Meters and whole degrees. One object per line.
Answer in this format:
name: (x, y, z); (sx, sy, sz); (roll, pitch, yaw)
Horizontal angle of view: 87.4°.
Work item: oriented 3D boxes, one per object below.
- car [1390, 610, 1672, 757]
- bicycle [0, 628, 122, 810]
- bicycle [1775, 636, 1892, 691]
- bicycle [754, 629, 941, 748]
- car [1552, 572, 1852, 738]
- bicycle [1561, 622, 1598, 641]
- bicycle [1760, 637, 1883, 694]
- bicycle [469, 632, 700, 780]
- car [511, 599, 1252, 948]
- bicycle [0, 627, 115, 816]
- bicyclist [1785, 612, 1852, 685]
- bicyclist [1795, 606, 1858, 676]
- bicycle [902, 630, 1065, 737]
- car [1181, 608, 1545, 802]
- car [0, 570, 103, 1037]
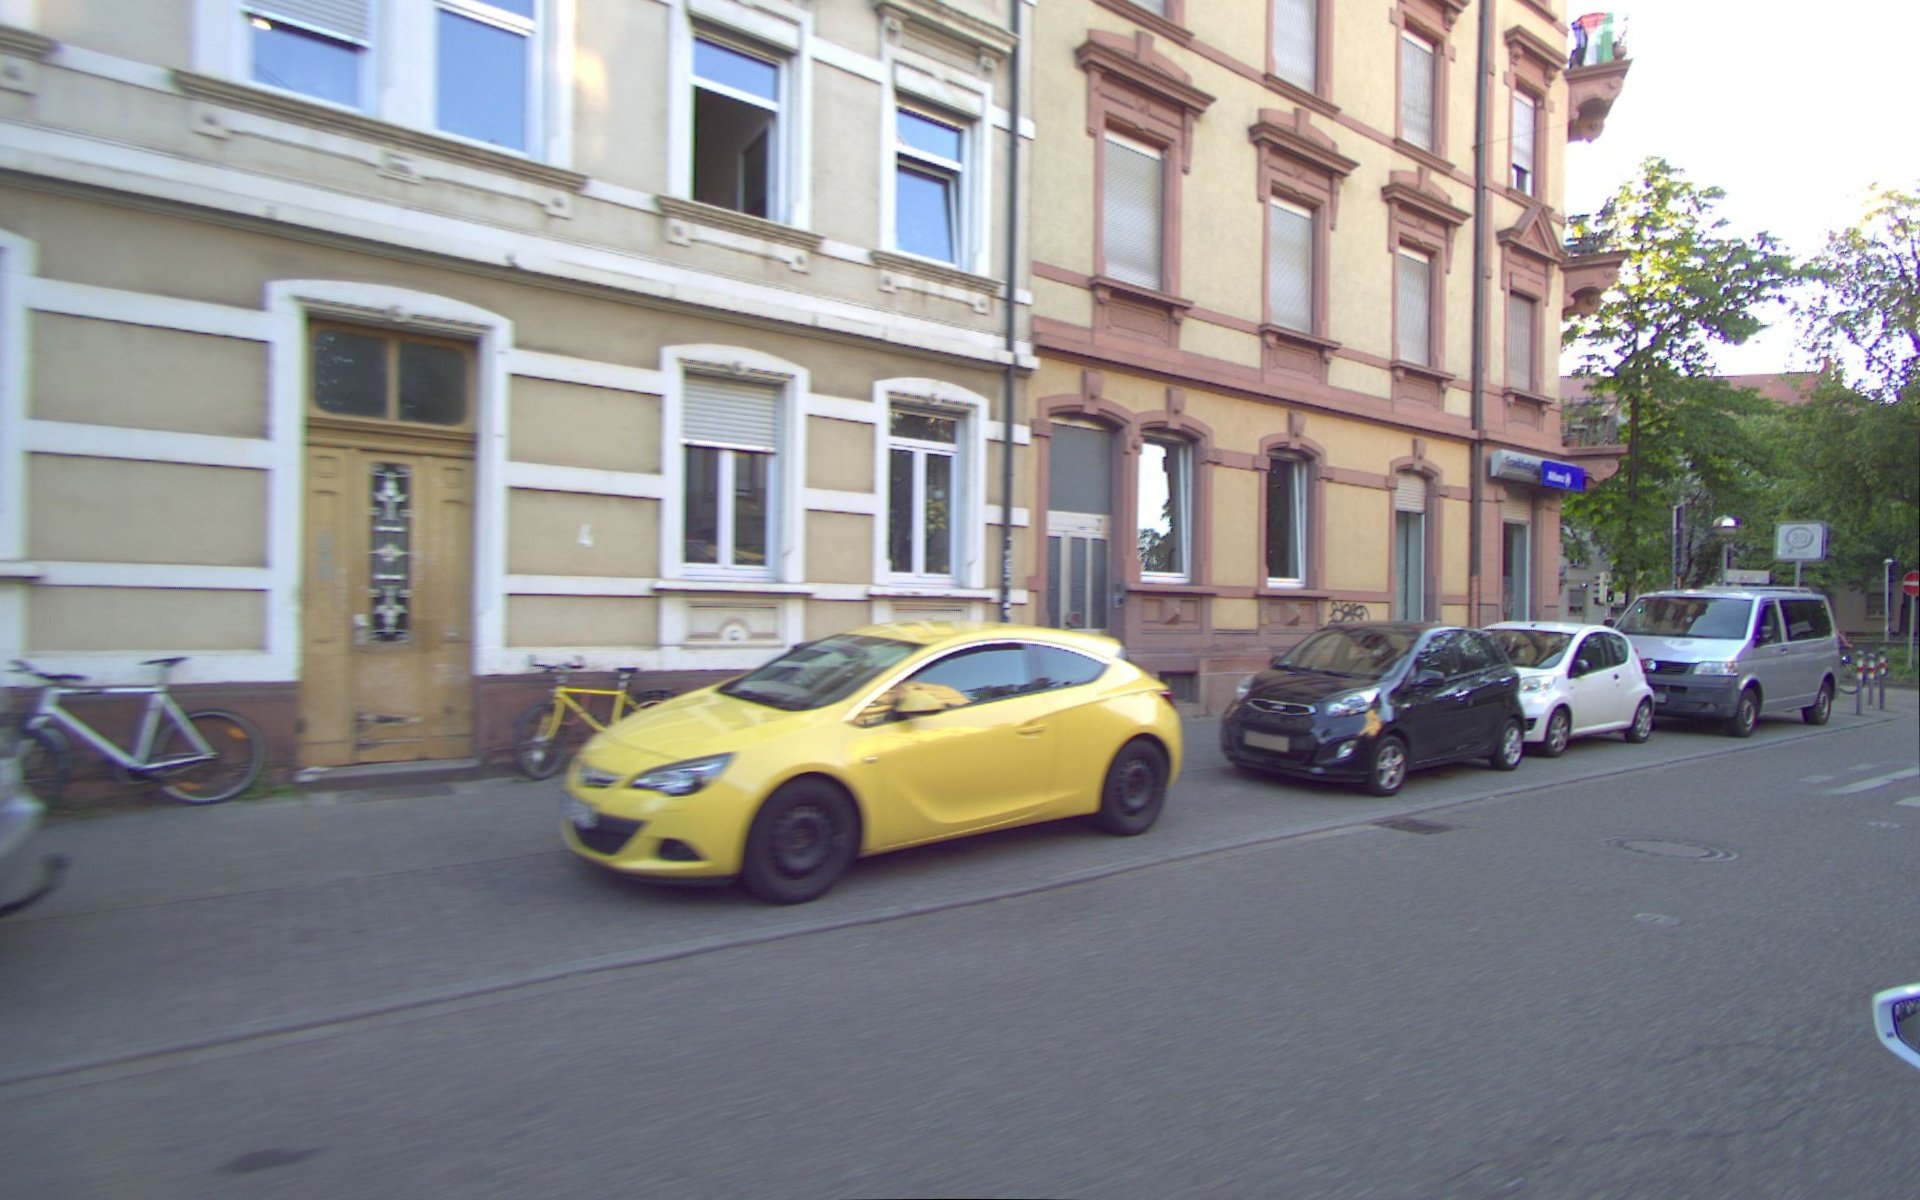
car: (7.140, 0.923, 12.479); (3.578, 1.511, 1.672); (1, 1, -36)
bicycle: (-6.614, 0.774, 6.450); (1.844, 1.155, 0.476); (0, 0, -34)
bicycle: (19.574, 1.396, 22.565); (0.640, 1.122, 2.009); (1, -1, -13)
bicycle: (-1.112, 0.850, 10.173); (1.817, 1.084, 0.657); (1, 0, -37)
car: (11.075, 0.695, 14.879); (4.953, 2.084, 2.028); (1, 1, -34)
bicycle: (39.043, 1.983, 63.338); (1.882, 1.167, 0.686); (0, 0, 0)
bicycle: (18.582, 1.396, 21.739); (0.710, 1.122, 2.010); (1, -1, -12)
bicycle: (-3.251, 0.874, 8.793); (1.844, 1.155, 0.476); (0, 0, -34)
car: (-0.278, 0.817, 6.786); (4.757, 1.546, 1.825); (1, 2, -37)
bicycle: (-6.429, 0.758, 6.167); (1.844, 1.155, 0.476); (0, 0, -34)
bicyclist: (18.579, 1.030, 21.756); (0.703, 1.546, 0.865); (1, 0, -12)
bicyclist: (19.562, 0.923, 22.678); (0.643, 1.546, 0.865); (1, 0, -13)
bicycle: (0.288, 0.886, 11.224); (1.817, 1.084, 0.657); (1, 0, -37)
car: (4.074, 0.878, 9.952); (3.709, 1.511, 1.715); (1, 1, -38)
car: (-5.510, 0.676, 3.127); (4.101, 1.614, 1.789); (1, 2, -33)
